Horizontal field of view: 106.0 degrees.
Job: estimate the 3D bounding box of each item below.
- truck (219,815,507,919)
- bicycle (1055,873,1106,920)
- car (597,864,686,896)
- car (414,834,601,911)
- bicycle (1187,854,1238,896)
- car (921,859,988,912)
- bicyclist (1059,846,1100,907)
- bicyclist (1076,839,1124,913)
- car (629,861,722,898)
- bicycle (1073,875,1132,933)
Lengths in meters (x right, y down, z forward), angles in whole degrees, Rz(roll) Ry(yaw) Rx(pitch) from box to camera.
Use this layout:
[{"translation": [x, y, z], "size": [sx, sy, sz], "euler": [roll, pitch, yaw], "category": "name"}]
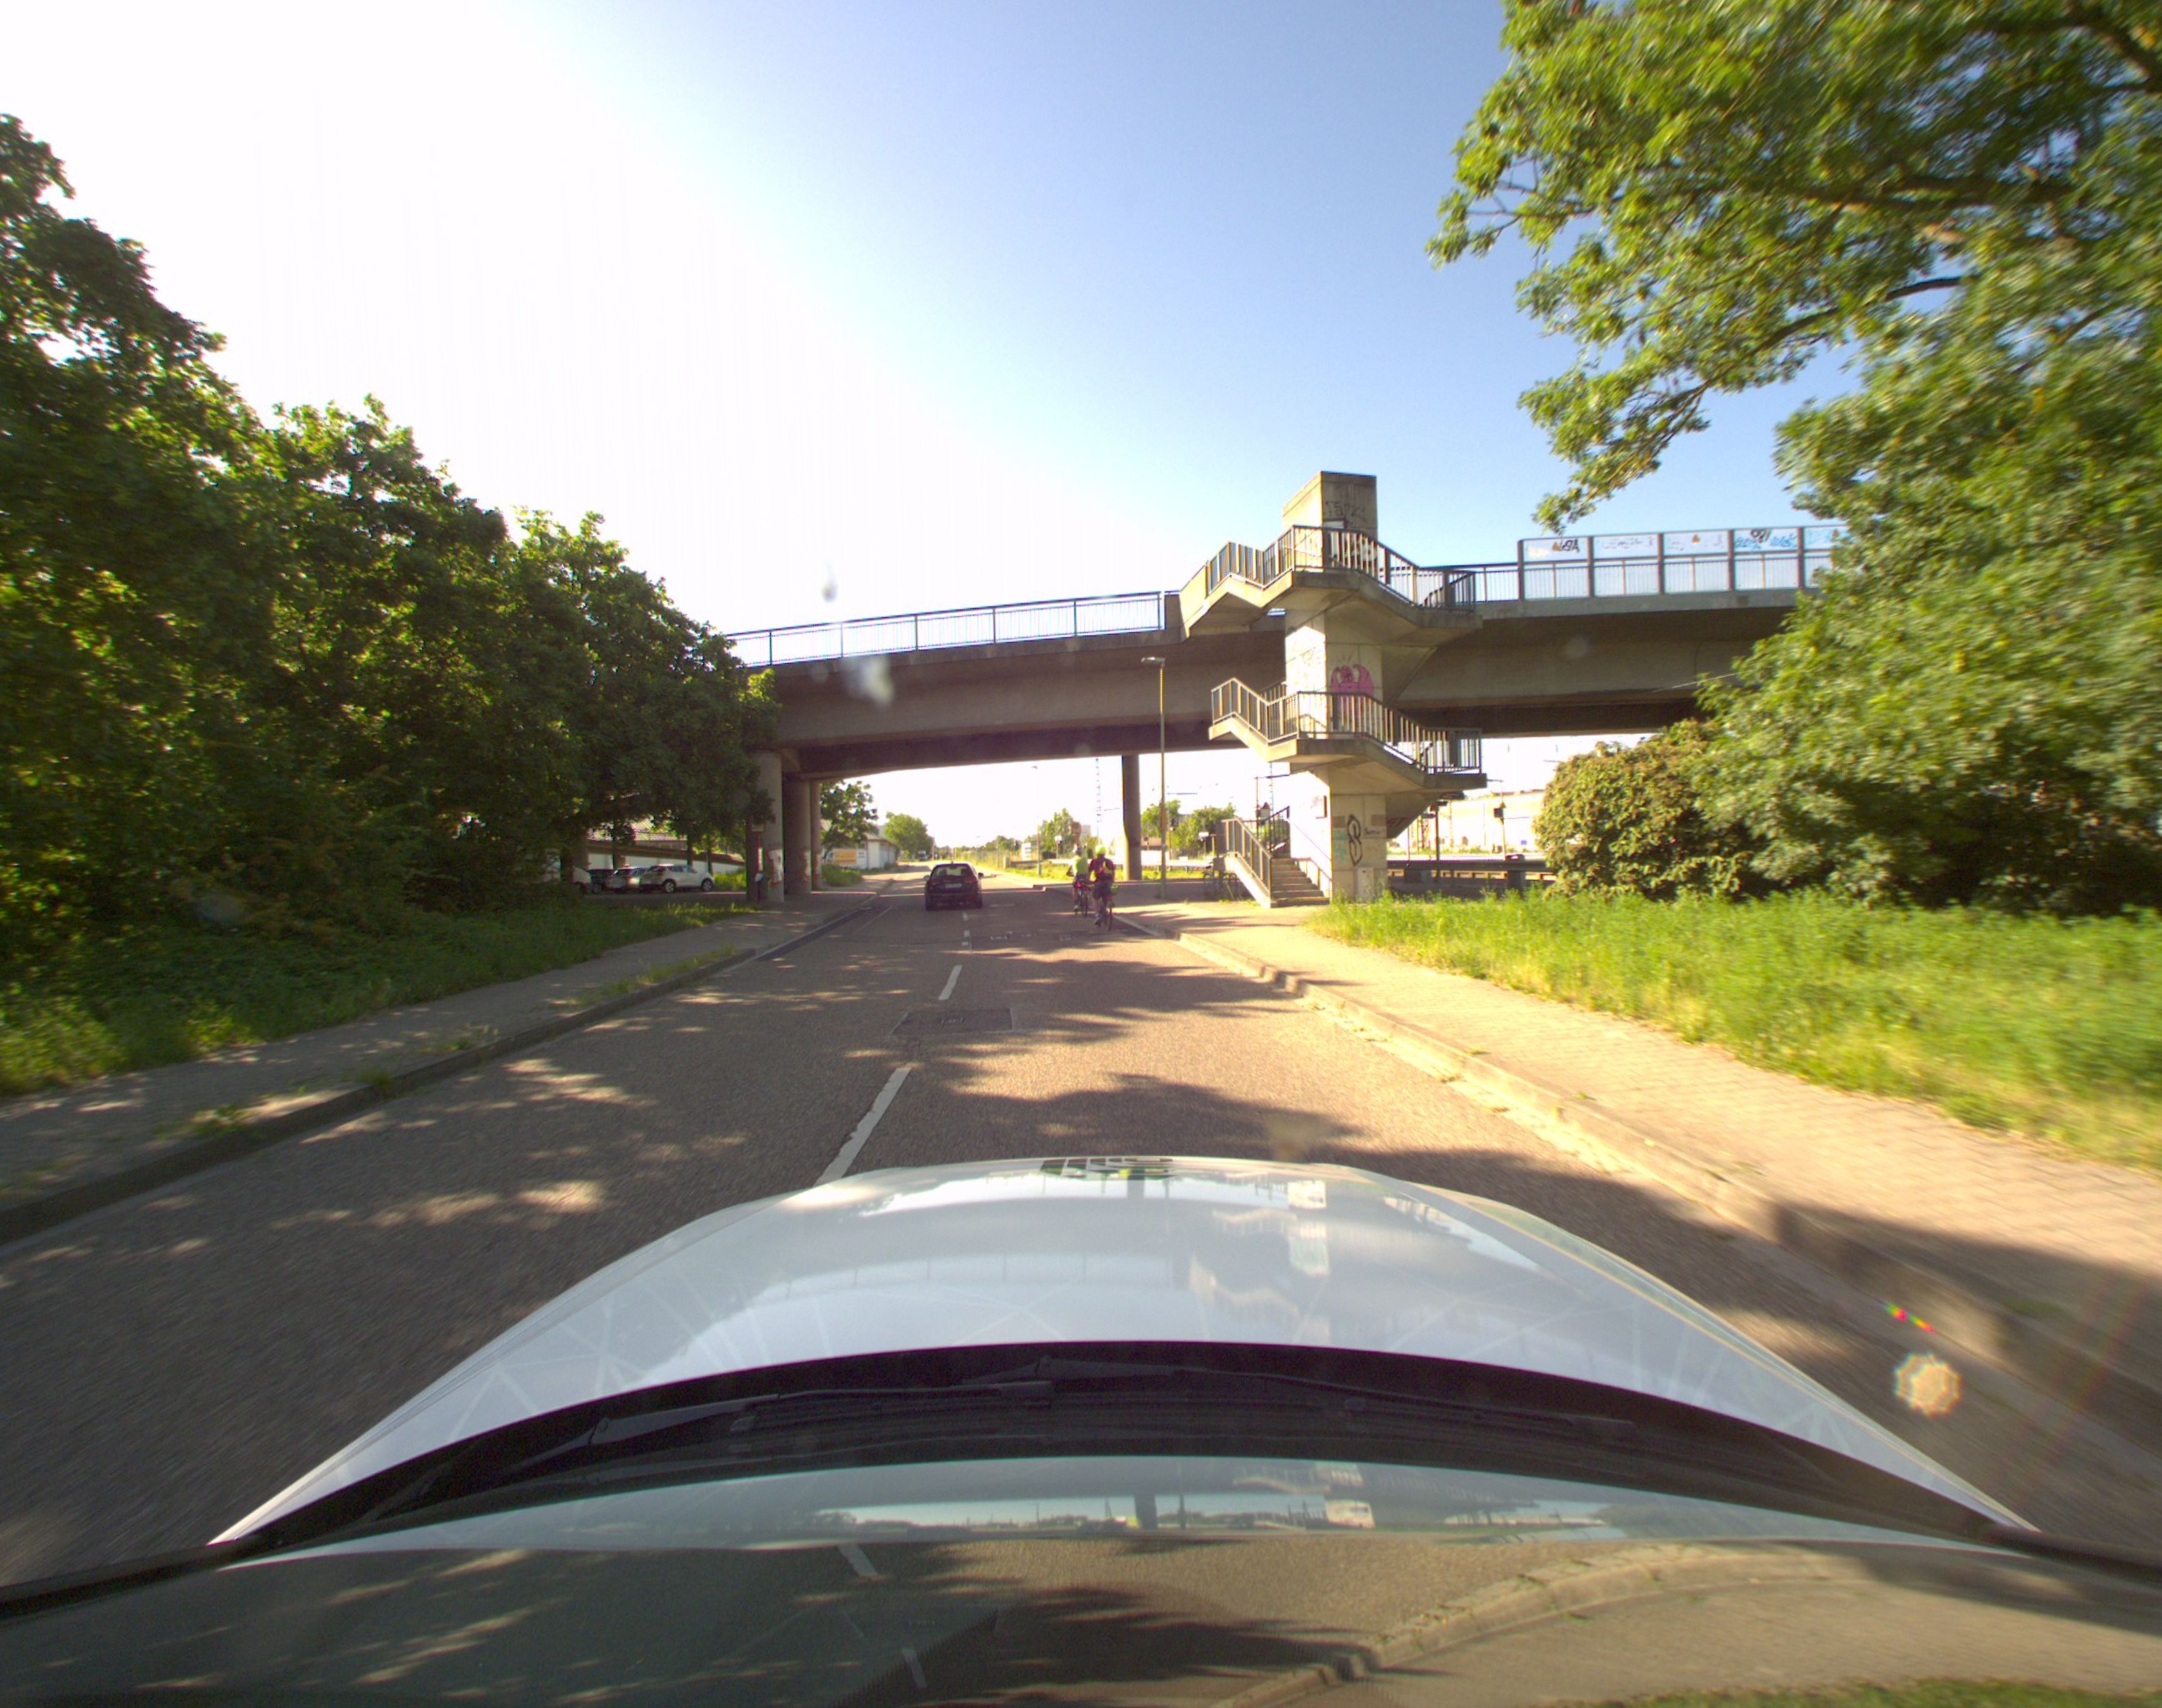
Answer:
[{"translation": [-27.408, 0.406, 31.728], "size": [2.452, 3.551, 8.013], "euler": [-2, 0, 24], "category": "truck"}, {"translation": [-0.044, 1.039, 20.722], "size": [0.841, 1.051, 2.181], "euler": [-2, 0, -12], "category": "bicycle"}, {"translation": [-24.548, 1.429, 45.655], "size": [1.664, 1.552, 4.319], "euler": [-2, 0, 19], "category": "car"}, {"translation": [-22.557, 0.621, 32.476], "size": [1.925, 2.681, 6.038], "euler": [-2, 1, 18], "category": "car"}, {"translation": [3.905, 0.612, 24.378], "size": [0.598, 1.182, 2.169], "euler": [-2, 0, -17], "category": "bicycle"}, {"translation": [-4.182, 0.945, 26.580], "size": [1.943, 1.488, 4.548], "euler": [-2, 0, -11], "category": "car"}, {"translation": [-0.050, 0.547, 20.686], "size": [0.841, 1.488, 0.920], "euler": [-2, 0, -12], "category": "bicyclist"}, {"translation": [0.392, 0.447, 17.202], "size": [0.840, 1.488, 0.921], "euler": [-2, 0, -8], "category": "bicyclist"}, {"translation": [-22.145, 1.336, 44.645], "size": [1.847, 1.641, 4.306], "euler": [-5, 0, 23], "category": "car"}, {"translation": [0.422, 1.009, 17.160], "size": [0.840, 1.051, 2.183], "euler": [-2, 0, -8], "category": "bicycle"}]
